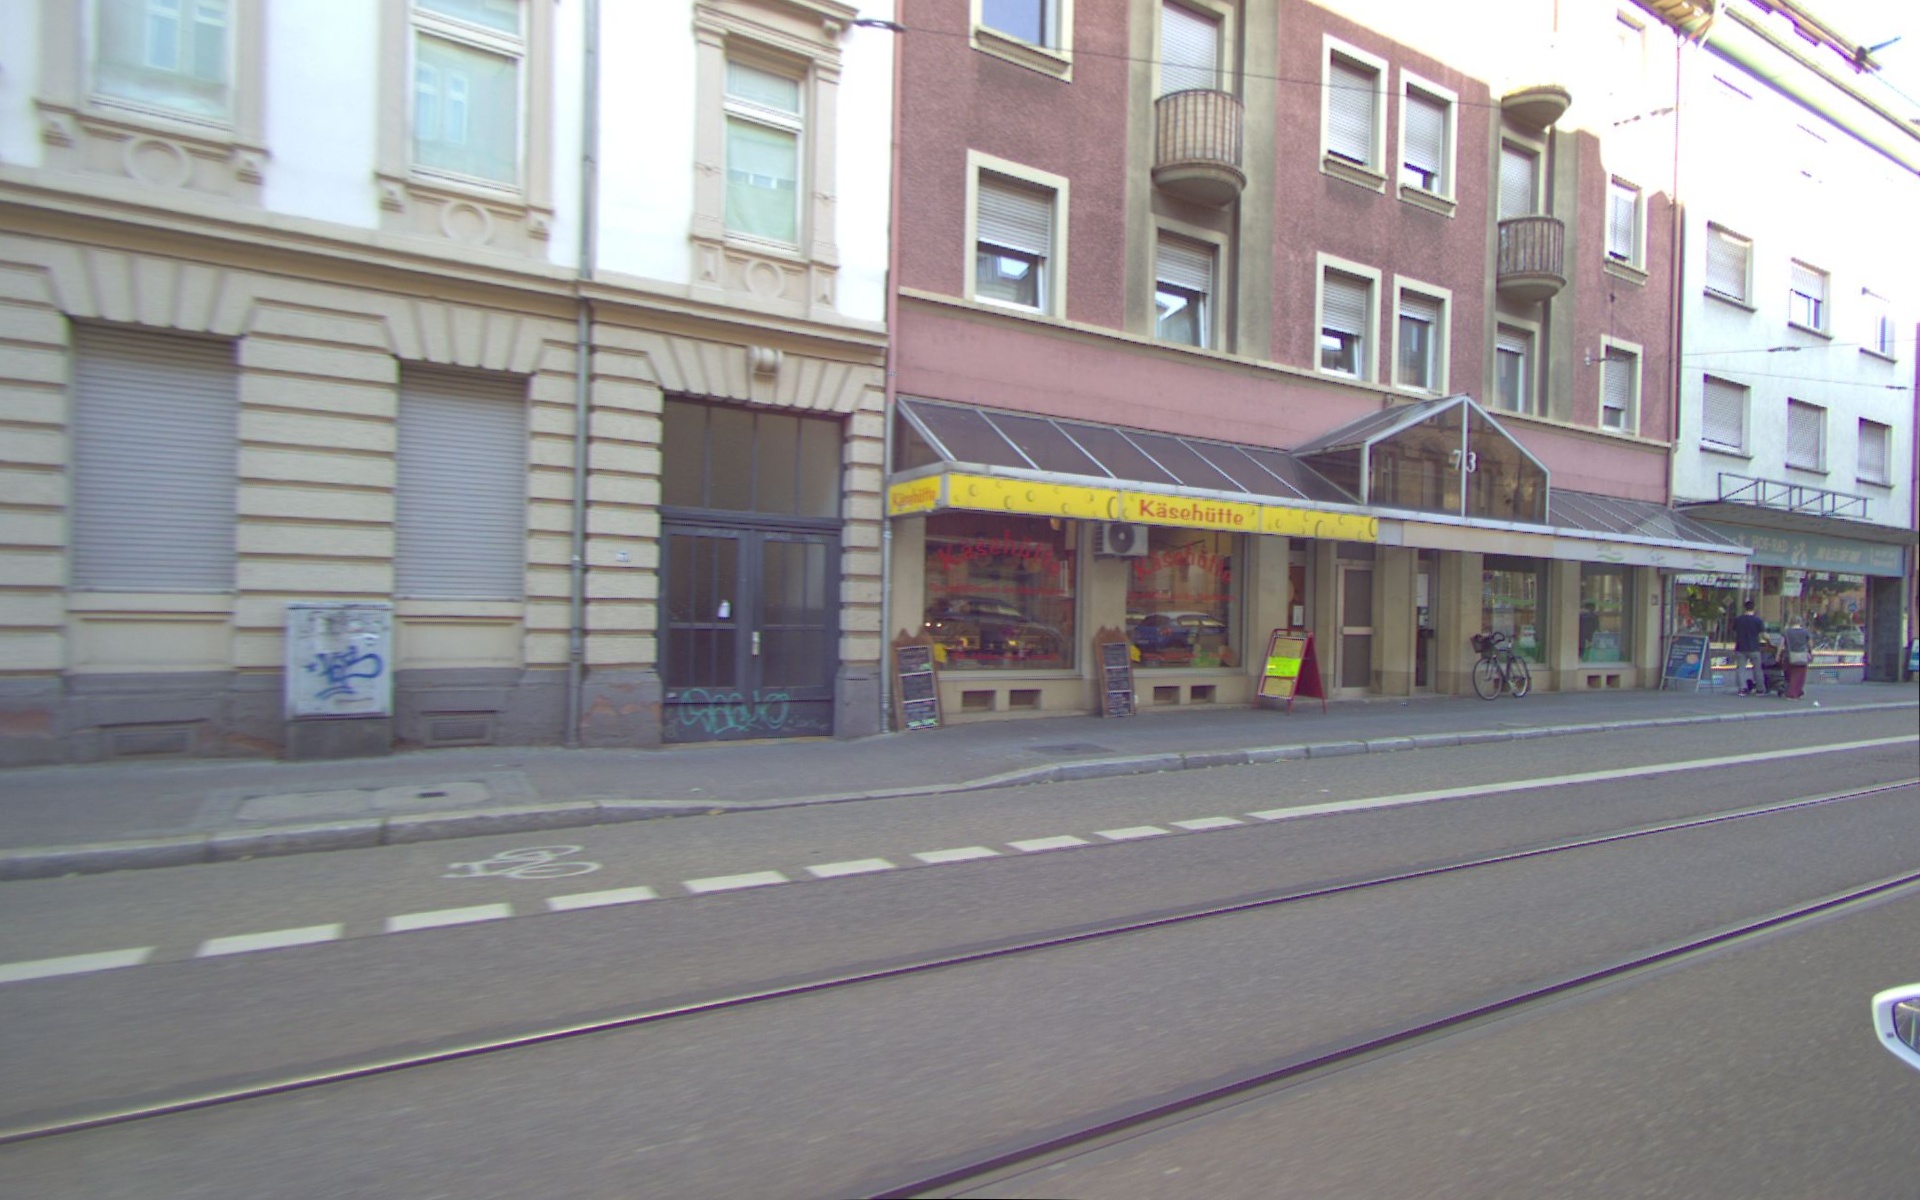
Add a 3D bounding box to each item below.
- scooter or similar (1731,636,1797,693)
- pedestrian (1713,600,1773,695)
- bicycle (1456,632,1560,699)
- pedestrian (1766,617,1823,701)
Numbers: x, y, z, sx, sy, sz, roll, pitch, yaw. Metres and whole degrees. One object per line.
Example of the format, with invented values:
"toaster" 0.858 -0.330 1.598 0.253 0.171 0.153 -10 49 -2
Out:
"scooter or similar" 16.121 1.273 20.149 1.092 1.075 0.658 1 1 -30
"pedestrian" 15.286 0.915 19.601 0.811 1.813 0.622 2 0 -30
"bicycle" 9.408 1.110 17.210 2.303 1.074 0.422 2 0 -31
"pedestrian" 16.086 1.125 19.358 0.616 1.569 0.633 2 0 -30
